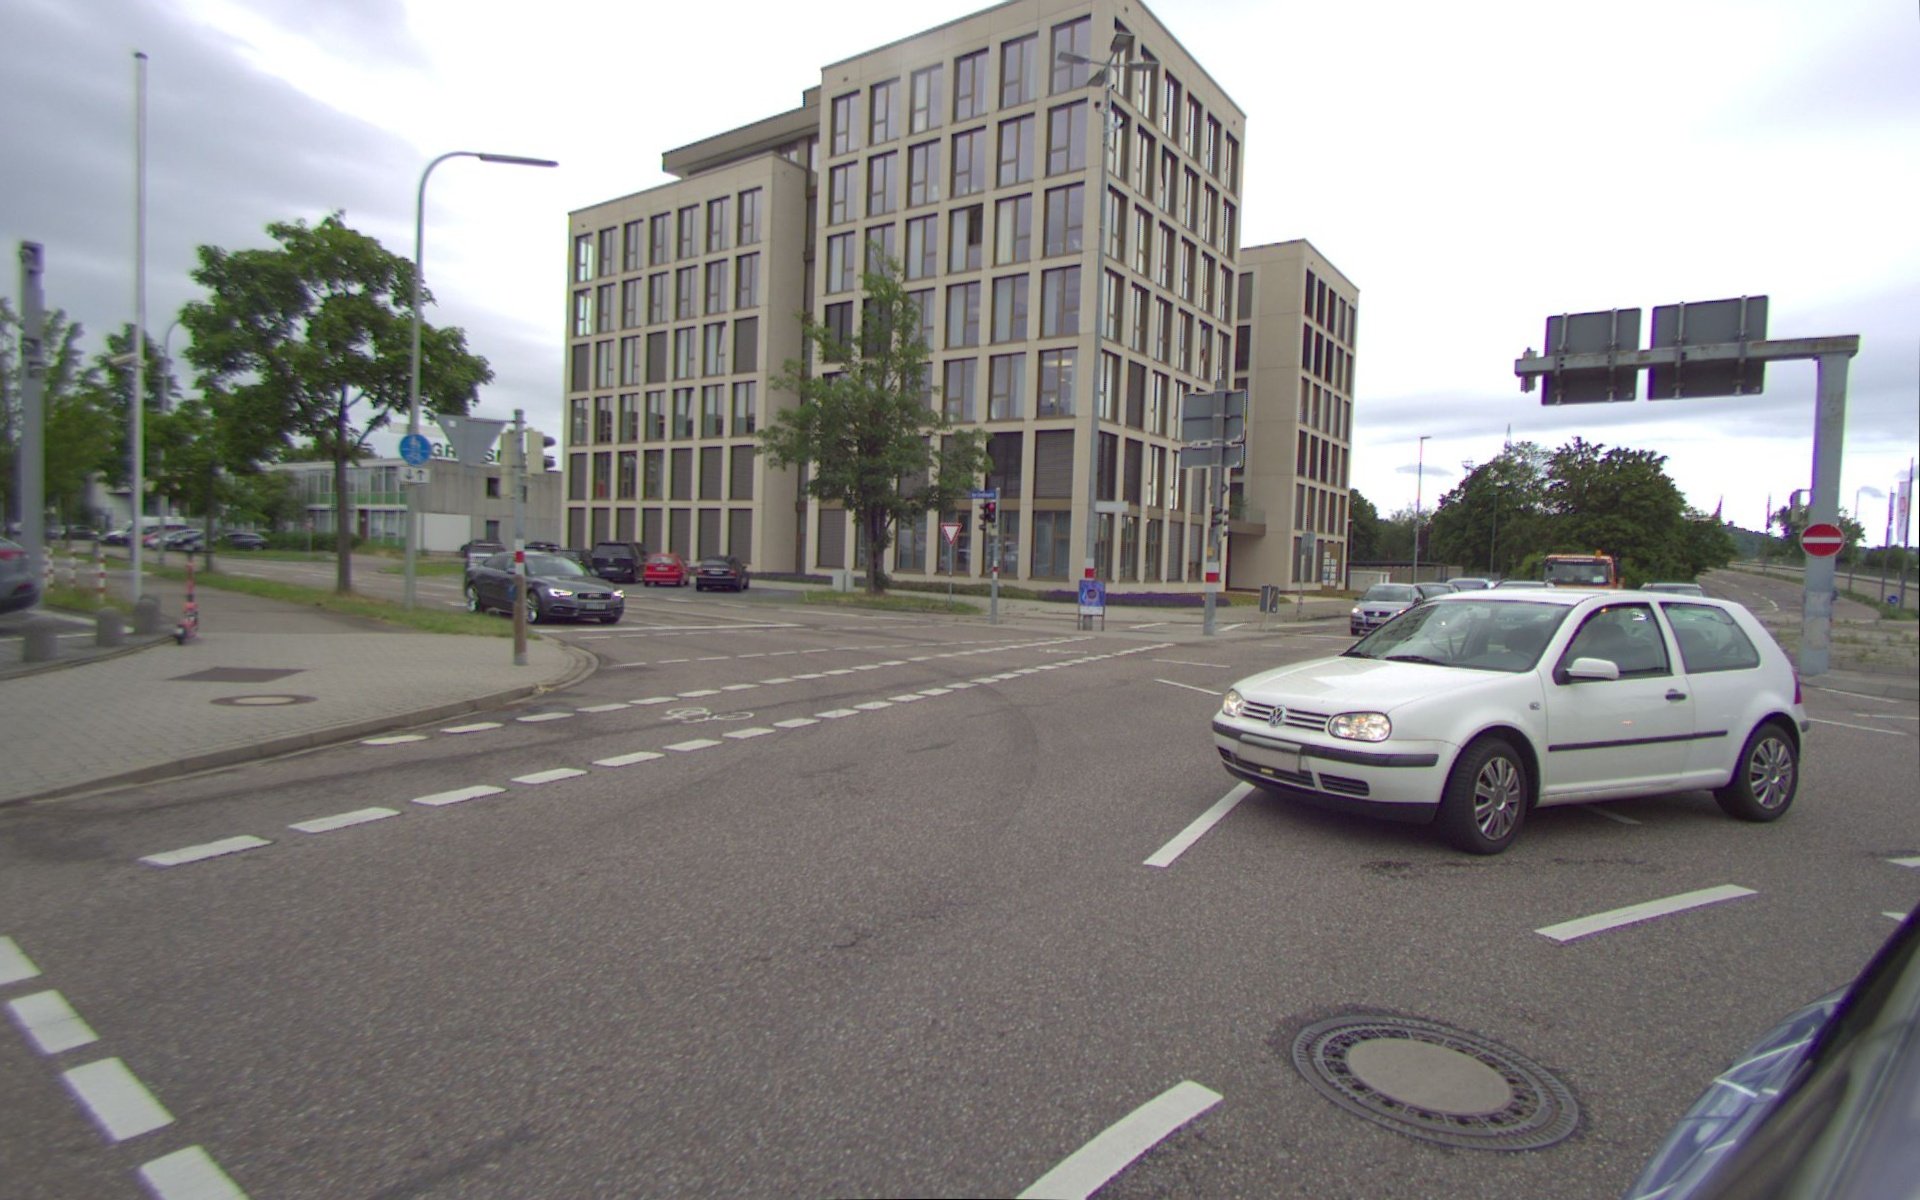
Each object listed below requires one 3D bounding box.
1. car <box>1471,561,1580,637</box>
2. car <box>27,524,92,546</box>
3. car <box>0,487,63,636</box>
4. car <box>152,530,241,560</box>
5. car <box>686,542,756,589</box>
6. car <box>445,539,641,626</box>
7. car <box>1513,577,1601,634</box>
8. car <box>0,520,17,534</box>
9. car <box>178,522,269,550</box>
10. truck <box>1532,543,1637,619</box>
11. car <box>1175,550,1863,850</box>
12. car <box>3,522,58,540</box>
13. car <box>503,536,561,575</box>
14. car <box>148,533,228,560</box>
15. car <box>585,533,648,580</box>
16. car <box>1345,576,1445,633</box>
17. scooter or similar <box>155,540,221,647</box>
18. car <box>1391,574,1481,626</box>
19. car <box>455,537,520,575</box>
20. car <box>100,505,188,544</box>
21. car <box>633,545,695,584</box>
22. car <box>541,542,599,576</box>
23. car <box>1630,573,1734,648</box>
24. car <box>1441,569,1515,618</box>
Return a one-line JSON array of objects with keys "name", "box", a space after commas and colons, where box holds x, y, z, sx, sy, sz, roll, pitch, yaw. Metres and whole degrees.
[{"name": "car", "box": [14.894, -0.027, 26.528, 1.988, 1.791, 4.364, 2, 1, 36]}, {"name": "car", "box": [-100.098, -7.190, 112.497, 2.133, 2.039, 5.117, 2, 1, 39]}, {"name": "car", "box": [-13.963, -0.440, 11.929, 1.988, 1.885, 4.729, 2, 4, 35]}, {"name": "car", "box": [-59.365, -4.271, 78.752, 2.132, 2.039, 5.120, 2, 1, 37]}, {"name": "car", "box": [-9.721, -1.410, 41.509, 1.853, 1.790, 4.134, 1, 2, 0]}, {"name": "car", "box": [-8.833, -0.428, 21.242, 4.596, 1.570, 1.956, 4, 3, 41]}, {"name": "car", "box": [18.982, 0.167, 32.112, 1.989, 1.621, 3.947, 2, 1, 36]}, {"name": "car", "box": [-136.565, -10.370, 142.824, 2.132, 1.915, 4.736, 2, 1, 37]}, {"name": "car", "box": [-54.972, -4.727, 75.648, 2.132, 1.741, 5.120, 2, 1, 37]}, {"name": "truck", "box": [24.236, -0.679, 39.144, 2.806, 2.671, 6.584, 2, 1, 37]}, {"name": "car", "box": [3.617, 0.536, 6.627, 3.920, 1.496, 1.842, 2, 1, -22]}, {"name": "car", "box": [-116.931, -8.709, 127.349, 2.132, 1.915, 4.736, 2, 1, 37]}, {"name": "car", "box": [-21.726, -2.238, 51.487, 1.560, 1.821, 3.435, 2, 1, -2]}, {"name": "car", "box": [-61.727, -4.254, 80.990, 2.132, 1.915, 4.736, 2, 1, 37]}, {"name": "car", "box": [-15.629, -1.978, 46.196, 1.959, 1.989, 4.253, 1, 2, -8]}, {"name": "car", "box": [12.362, 0.118, 28.608, 1.741, 1.450, 4.045, 2, 1, 36]}, {"name": "scooter or similar", "box": [-9.676, -0.103, 12.715, 0.548, 1.234, 1.560, 4, 1, -36]}, {"name": "car", "box": [15.392, 0.001, 32.616, 1.861, 1.509, 4.096, 2, 1, 36]}, {"name": "car", "box": [-23.911, -2.185, 51.357, 1.732, 1.754, 3.435, 2, 1, -2]}, {"name": "car", "box": [-75.785, -6.968, 94.100, 2.123, 3.155, 6.051, 2, 1, 38]}, {"name": "car", "box": [-12.945, -1.563, 44.461, 1.851, 1.570, 4.139, 1, 2, -5]}, {"name": "car", "box": [-18.464, -1.946, 48.089, 1.663, 1.530, 3.824, 1, 2, -7]}, {"name": "car", "box": [17.775, 0.248, 25.054, 1.893, 1.664, 4.018, 2, 1, 34]}, {"name": "car", "box": [20.345, -0.232, 39.674, 1.988, 1.791, 4.096, 2, 1, 36]}]
